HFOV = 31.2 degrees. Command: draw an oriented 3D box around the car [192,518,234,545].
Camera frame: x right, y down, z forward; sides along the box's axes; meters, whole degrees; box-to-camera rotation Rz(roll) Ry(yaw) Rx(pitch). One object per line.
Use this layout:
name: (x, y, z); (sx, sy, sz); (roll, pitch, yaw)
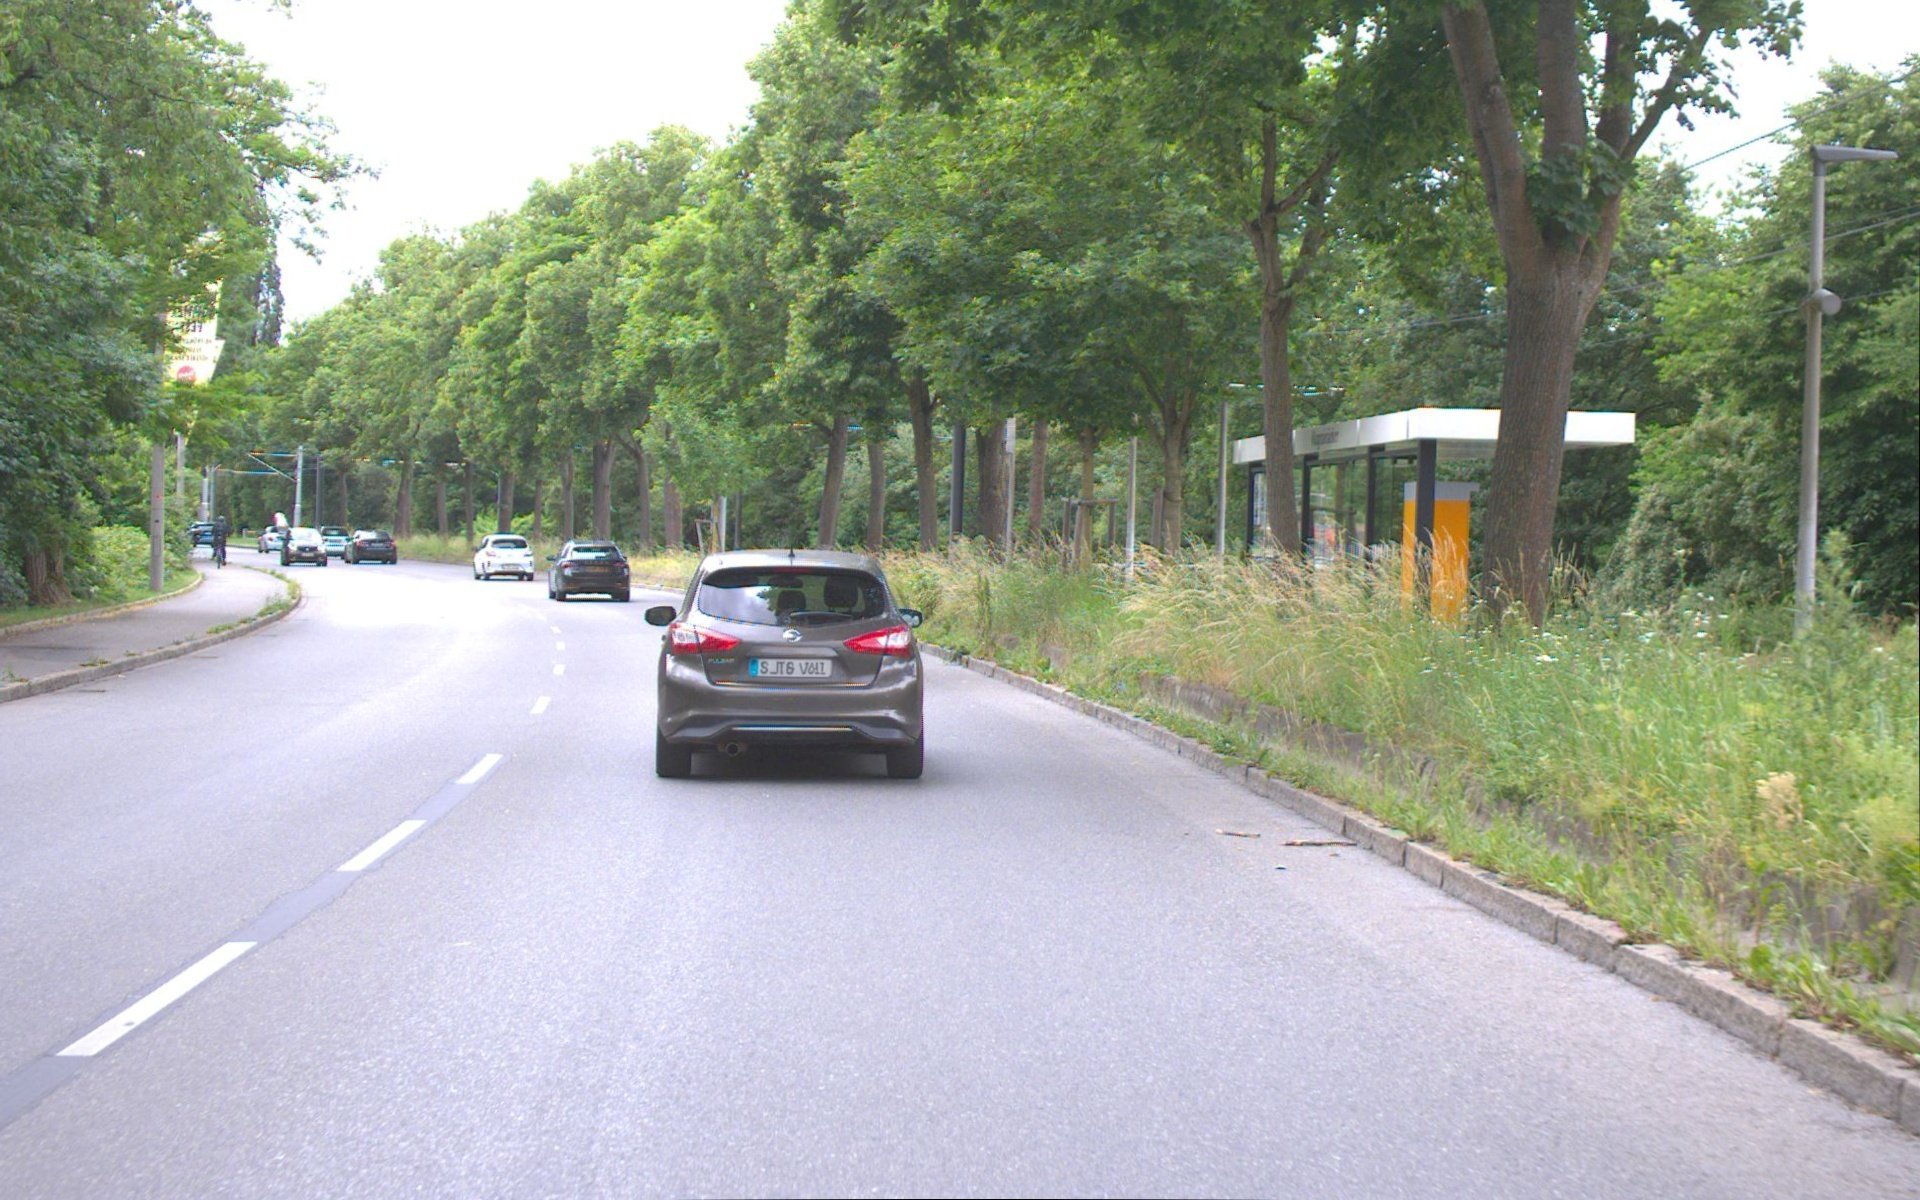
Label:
car: (-45.437, -4.184, 209.084); (1.775, 1.467, 4.002); (3, 2, -21)

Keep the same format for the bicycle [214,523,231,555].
bicycle: (-25.169, -2.089, 117.379); (0.488, 1.027, 1.125); (3, 1, -13)

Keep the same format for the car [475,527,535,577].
car: (-14.872, -1.585, 112.388); (1.775, 1.467, 4.001); (3, 1, -6)

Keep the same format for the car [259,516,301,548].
car: (-36.035, -3.613, 182.061); (1.775, 1.467, 4.002); (3, 1, -16)

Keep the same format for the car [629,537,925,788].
car: (-1.356, 0.369, 23.941); (1.815, 1.503, 4.001); (1, 2, -6)

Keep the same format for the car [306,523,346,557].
car: (-29.822, -2.843, 161.860); (1.775, 1.467, 4.001); (2, 2, -10)

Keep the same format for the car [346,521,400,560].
car: (-25.240, -2.563, 147.751); (1.775, 1.467, 4.002); (4, 1, -16)

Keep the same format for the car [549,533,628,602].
car: (-8.982, -0.802, 83.253); (1.775, 1.467, 4.001); (3, 1, -6)

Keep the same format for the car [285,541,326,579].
car: (-26.495, -1.645, 139.187); (1.595, 1.500, 3.029); (0, 1, -11)

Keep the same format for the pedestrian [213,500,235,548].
pedestrian: (-25.127, -2.601, 117.326); (0.617, 1.566, 0.849); (3, 1, -13)
